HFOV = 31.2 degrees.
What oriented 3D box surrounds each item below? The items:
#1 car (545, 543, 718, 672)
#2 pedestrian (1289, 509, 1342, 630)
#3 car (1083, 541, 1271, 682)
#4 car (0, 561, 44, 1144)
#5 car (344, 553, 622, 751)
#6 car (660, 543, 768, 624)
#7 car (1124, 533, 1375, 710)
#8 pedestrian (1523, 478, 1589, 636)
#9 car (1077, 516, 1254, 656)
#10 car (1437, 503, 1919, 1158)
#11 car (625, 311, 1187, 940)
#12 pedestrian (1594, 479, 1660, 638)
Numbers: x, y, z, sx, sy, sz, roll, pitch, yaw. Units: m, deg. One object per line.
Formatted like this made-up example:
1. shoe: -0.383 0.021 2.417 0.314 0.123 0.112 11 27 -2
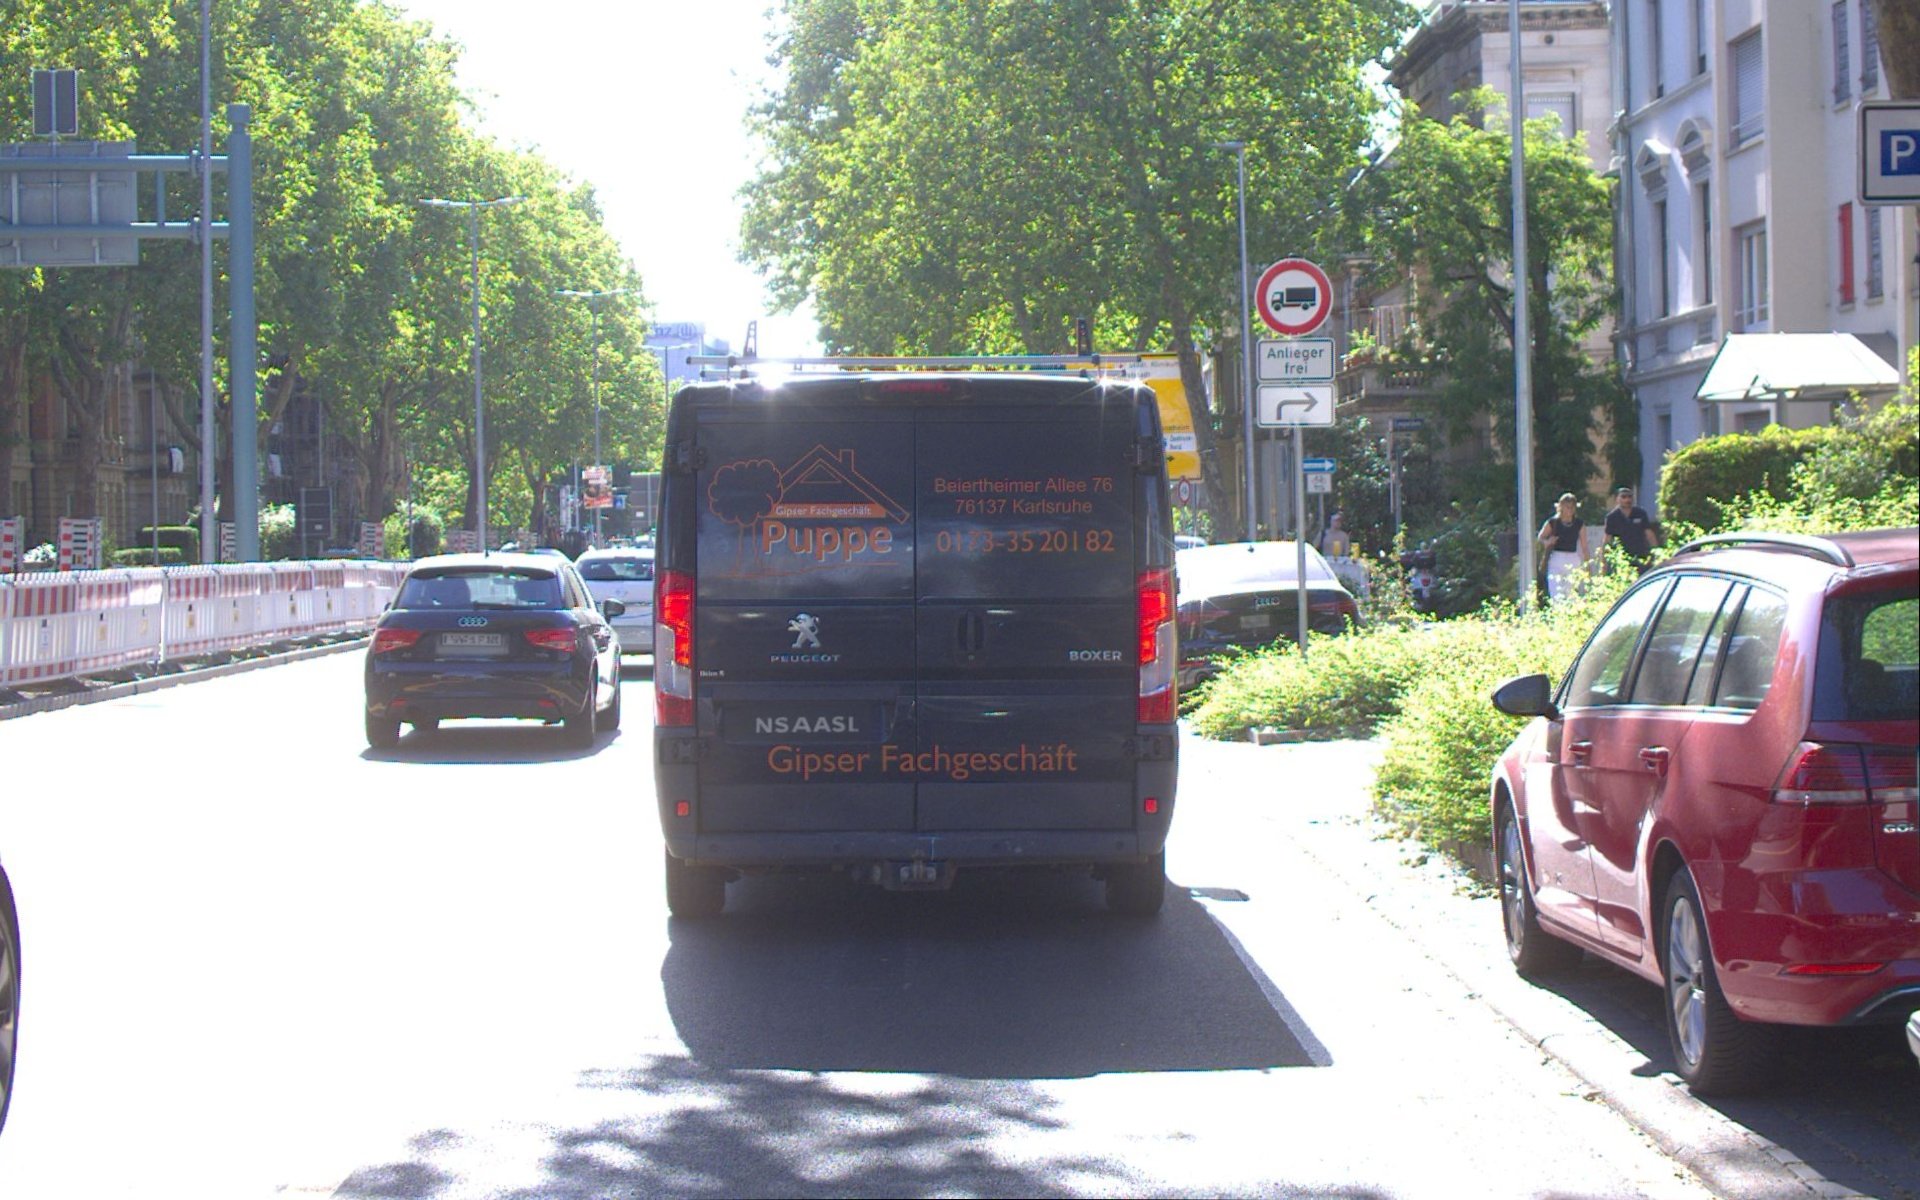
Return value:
1. car: -3.796 0.059 40.184 1.548 1.420 3.555 -1 1 2
2. pedestrian: 6.008 -0.524 58.185 0.798 2.007 1.168 -1 1 4
3. car: 2.304 0.090 37.322 1.844 1.403 3.800 -1 1 1
4. car: -3.242 0.644 6.374 1.925 1.407 4.626 1 1 -1
5. car: -3.601 0.346 26.557 1.746 1.402 4.000 1 1 -2
6. car: -3.880 -0.274 54.521 1.421 1.221 3.438 -1 1 0
7. car: 2.544 0.147 31.152 1.844 1.437 4.487 -1 1 0
8. pedestrian: 6.715 -0.488 38.786 0.675 1.749 0.875 -1 1 9
9. car: 2.586 -0.201 44.108 1.844 1.638 3.801 -2 1 -2
10. car: 2.691 0.484 10.288 1.821 1.502 4.677 -2 1 0
11. car: -0.258 0.043 14.816 2.095 2.347 3.933 0 2 -2
12. pedestrian: 7.490 -0.468 38.628 0.654 1.749 1.013 -1 1 9
